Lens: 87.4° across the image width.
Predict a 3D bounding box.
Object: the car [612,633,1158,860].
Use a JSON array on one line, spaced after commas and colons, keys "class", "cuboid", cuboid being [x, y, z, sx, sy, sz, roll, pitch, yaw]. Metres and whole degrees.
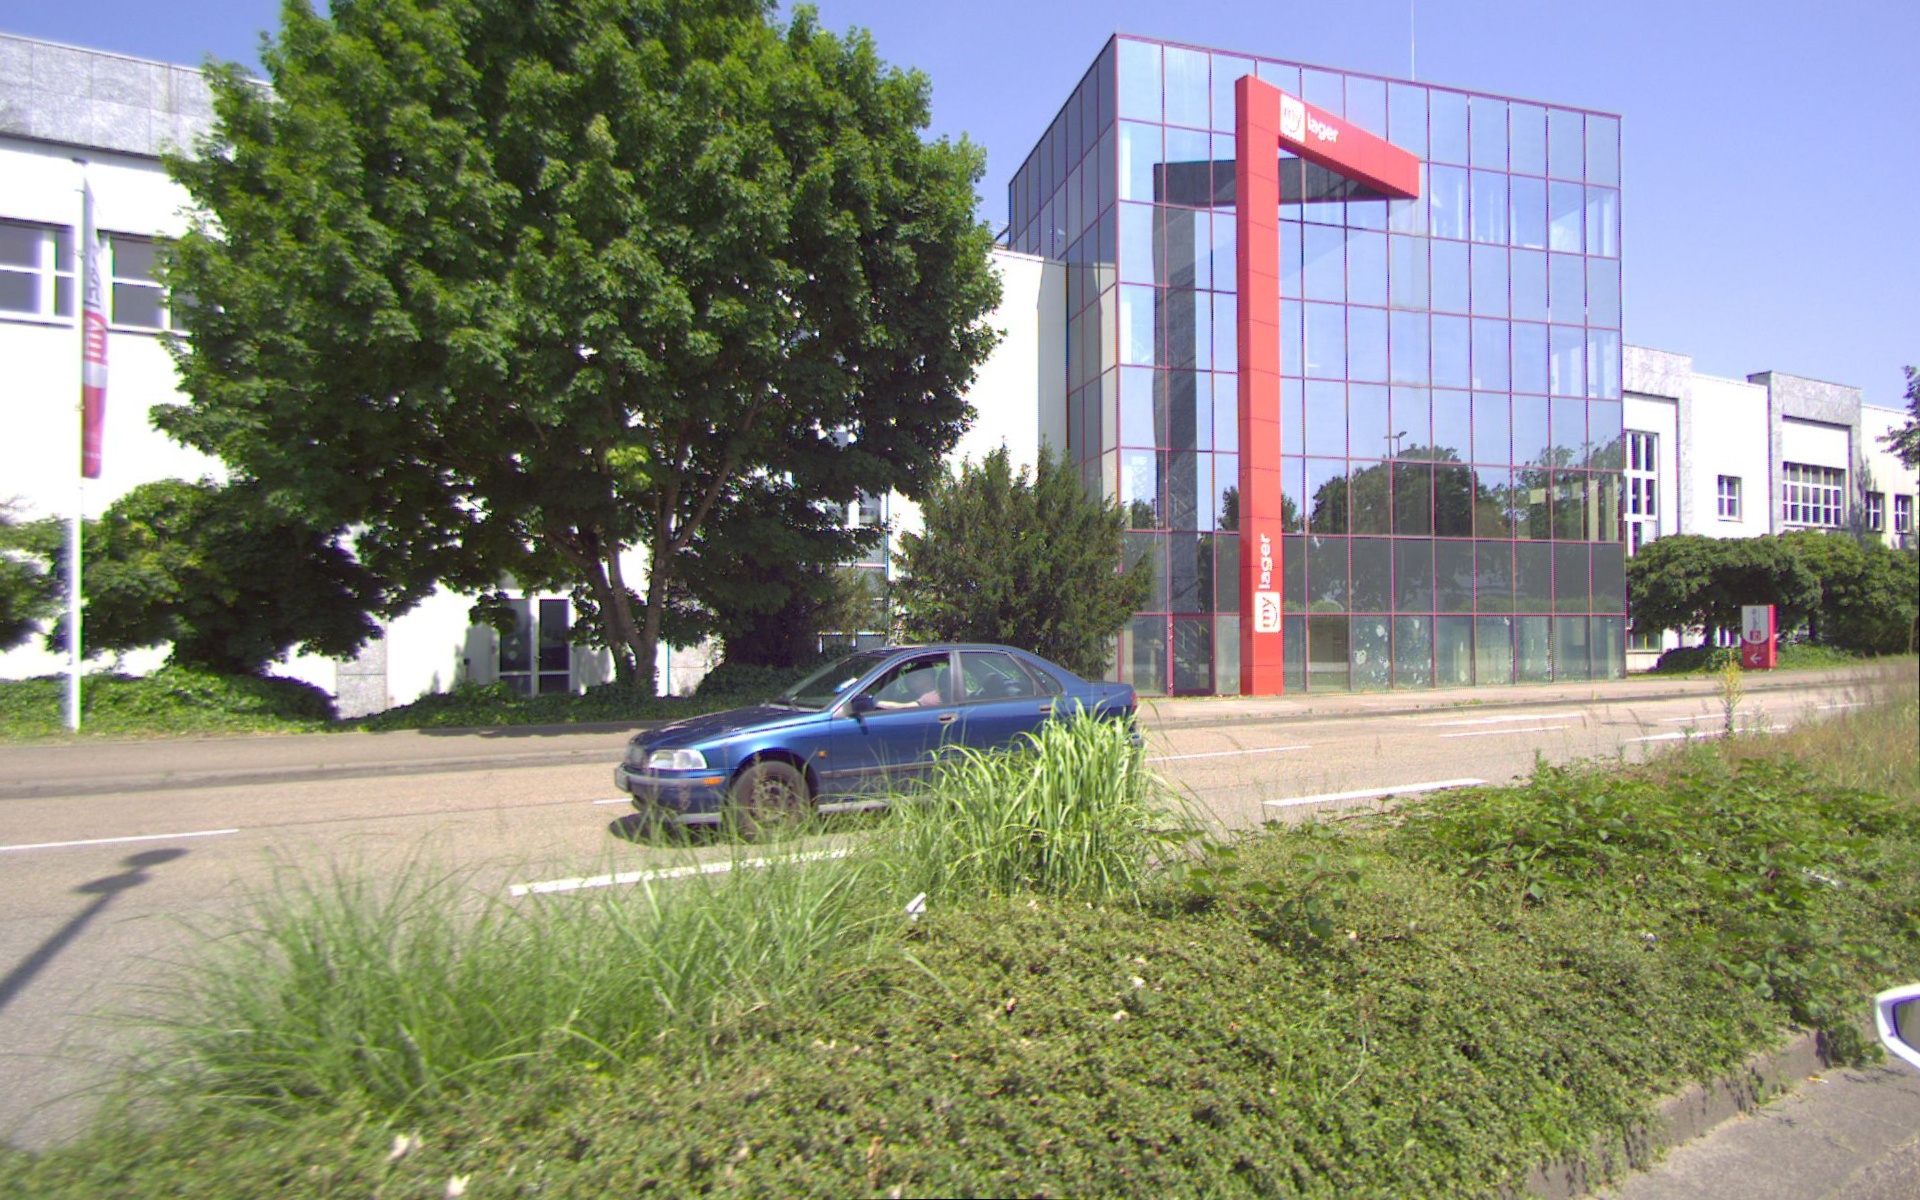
[{"class": "car", "cuboid": [-0.541, 1.029, 8.324, 4.196, 1.435, 1.714, 1, -3, -30]}]
